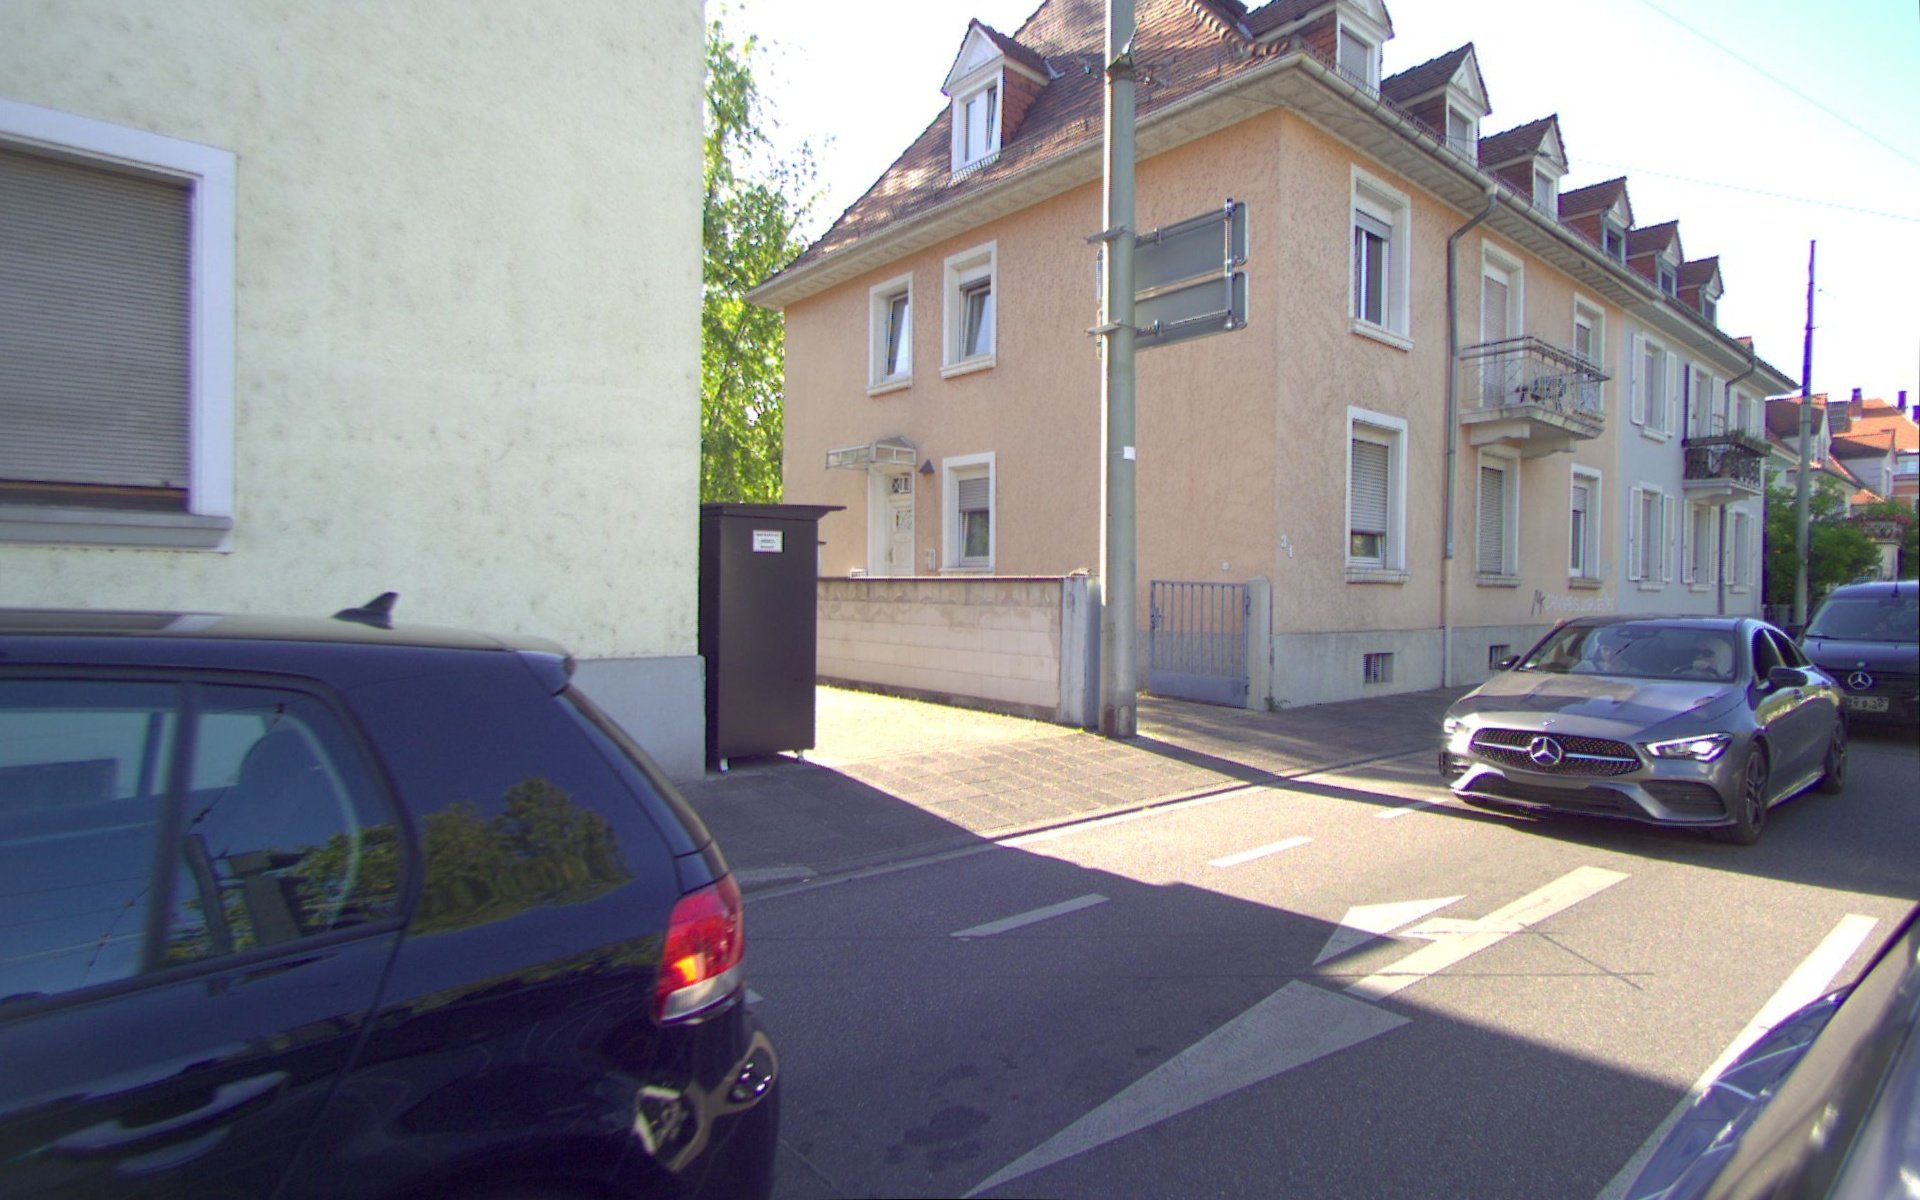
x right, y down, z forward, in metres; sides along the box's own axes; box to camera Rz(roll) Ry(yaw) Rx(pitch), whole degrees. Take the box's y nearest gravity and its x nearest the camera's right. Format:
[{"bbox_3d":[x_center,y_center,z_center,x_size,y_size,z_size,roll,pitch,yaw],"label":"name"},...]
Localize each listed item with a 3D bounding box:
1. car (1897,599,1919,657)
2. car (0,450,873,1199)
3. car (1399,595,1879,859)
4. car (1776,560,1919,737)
[{"bbox_3d":[26.667,0.726,27.151,3.930,1.476,1.839,-1,0,-41],"label":"car"},{"bbox_3d":[-2.241,0.570,1.290,3.979,1.527,1.731,2,-1,-41],"label":"car"},{"bbox_3d":[5.385,0.696,7.787,4.413,1.437,1.911,-1,1,-40],"label":"car"},{"bbox_3d":[11.538,0.479,12.190,4.695,1.827,1.864,-1,0,-41],"label":"car"}]
